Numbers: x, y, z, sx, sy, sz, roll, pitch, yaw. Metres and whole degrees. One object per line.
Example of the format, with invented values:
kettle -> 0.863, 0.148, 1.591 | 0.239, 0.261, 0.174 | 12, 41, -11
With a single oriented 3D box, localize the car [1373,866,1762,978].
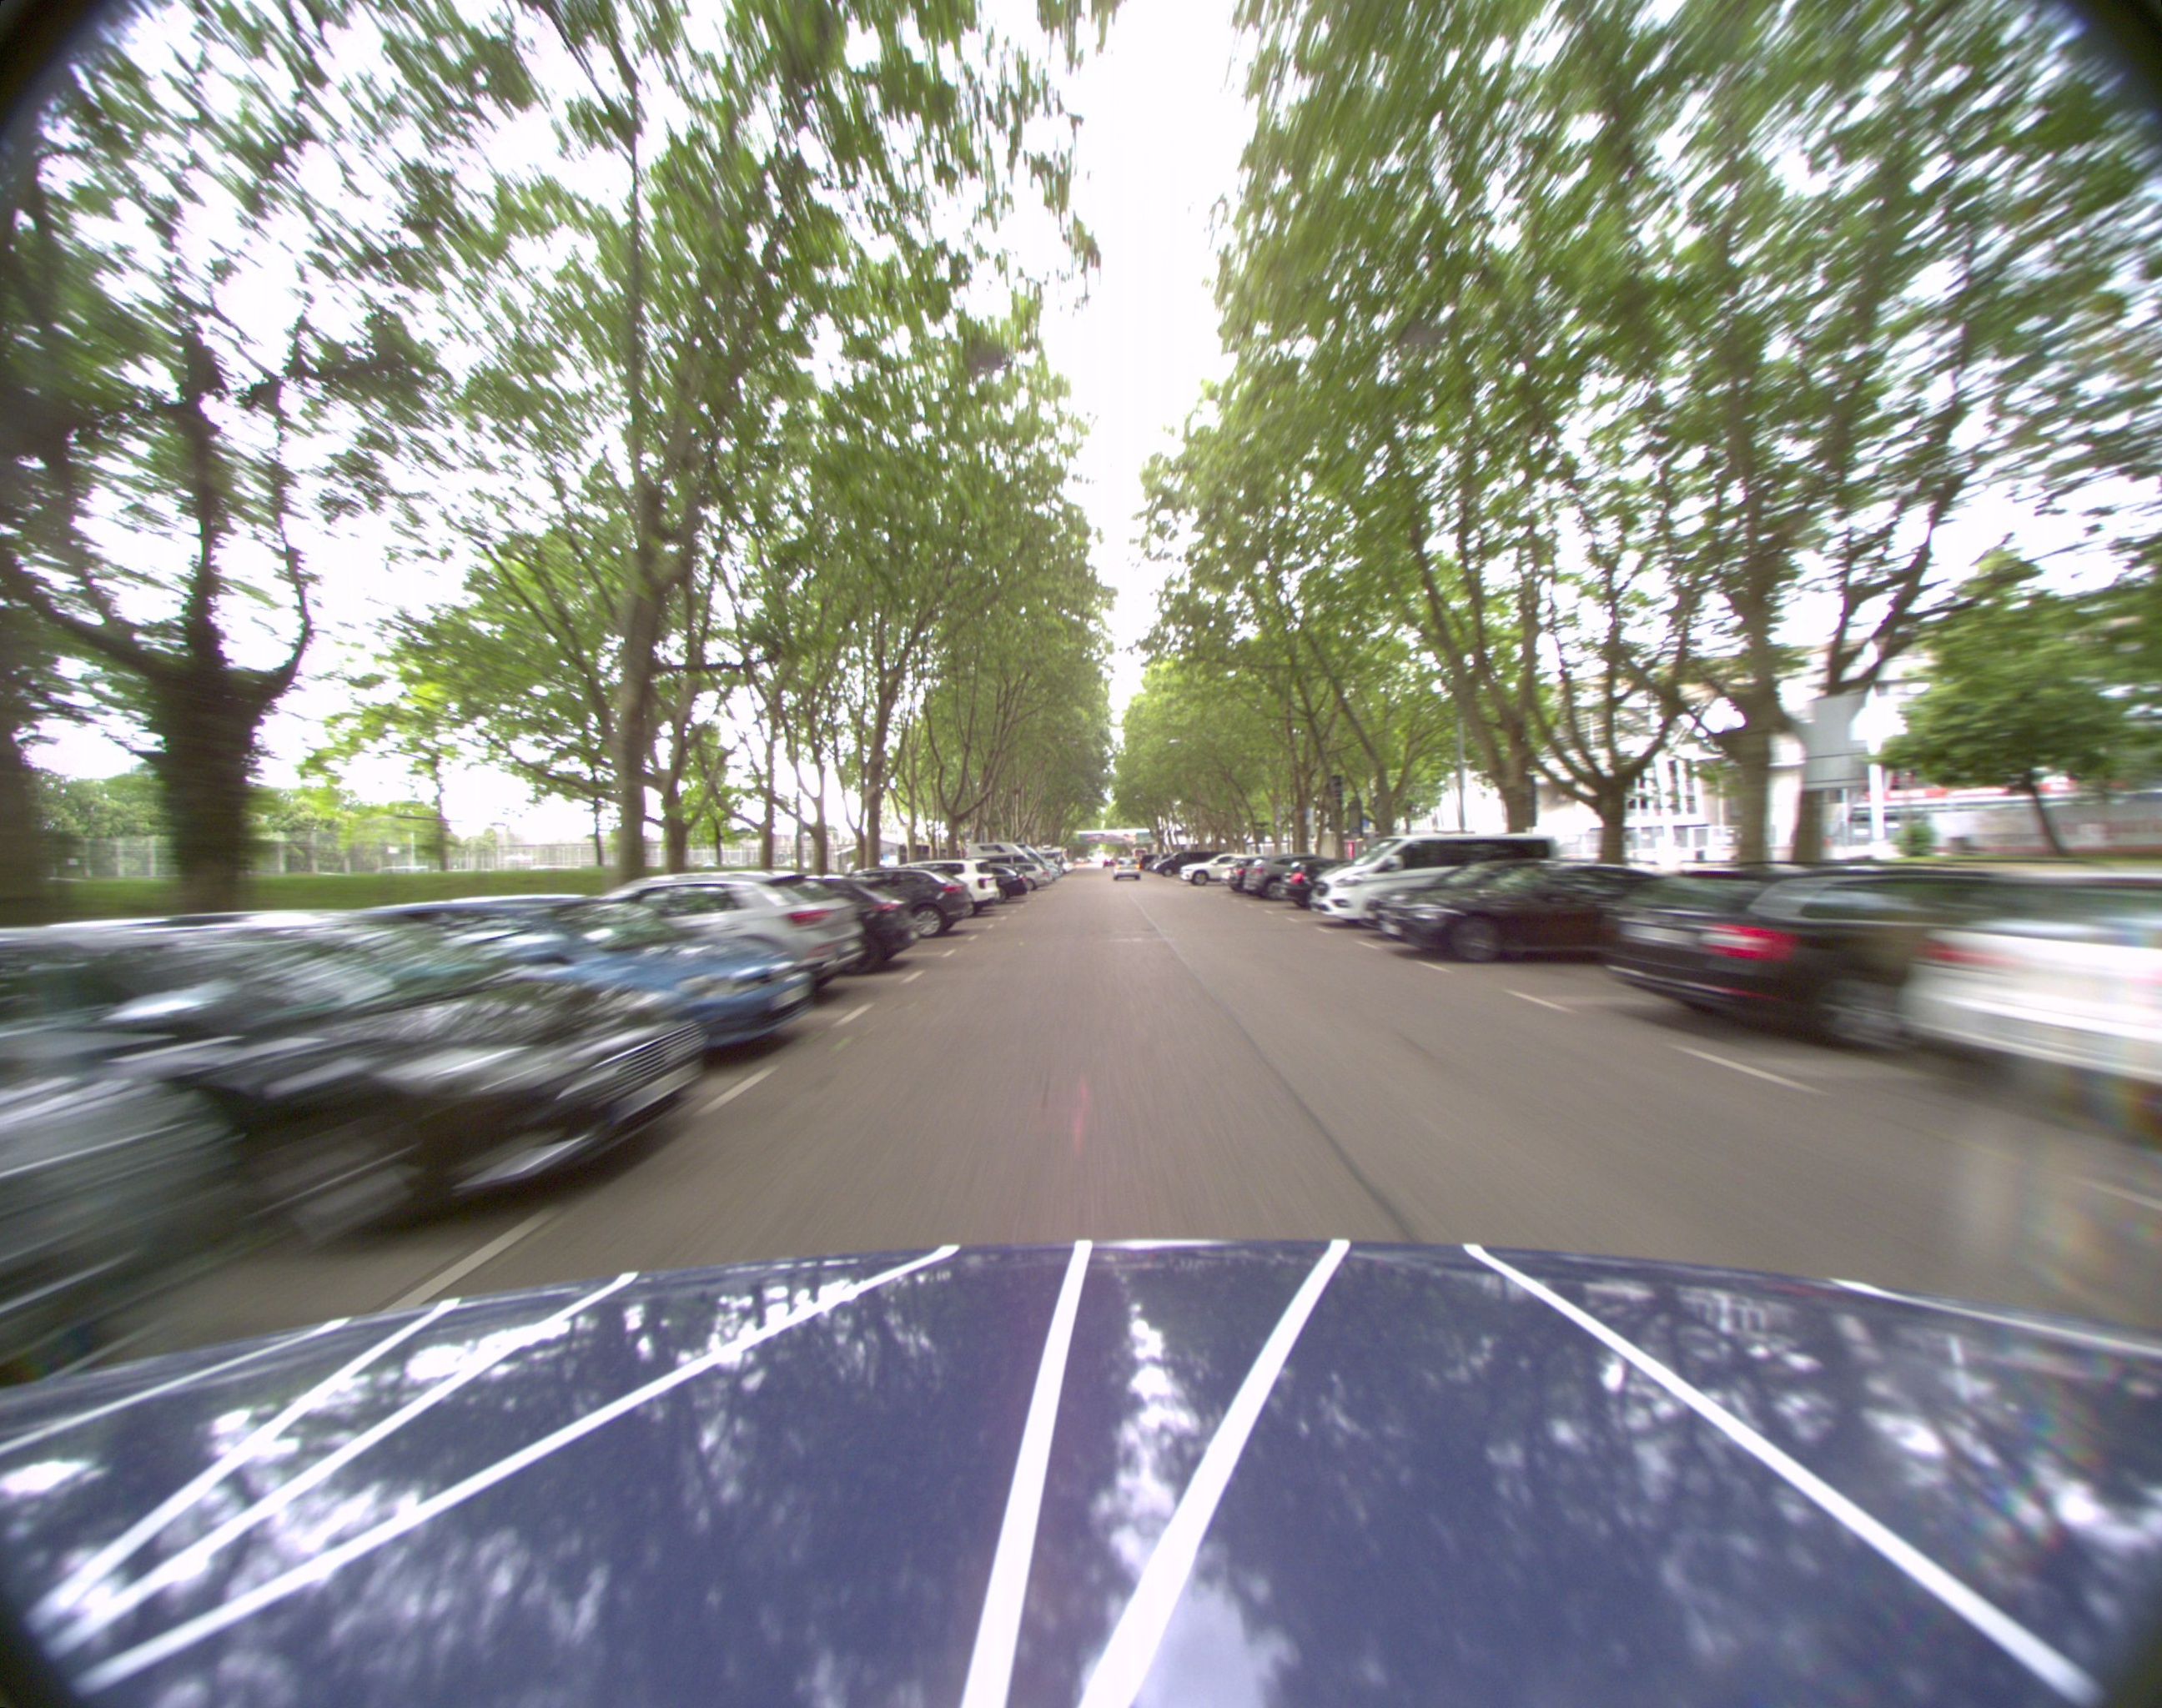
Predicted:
car -> 6.817, 0.911, 11.070 | 4.458, 1.444, 1.775 | 0, 0, 5

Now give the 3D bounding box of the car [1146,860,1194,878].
car -> 8.811, 1.502, 75.191 | 4.589, 1.771, 1.798 | 0, -1, 3

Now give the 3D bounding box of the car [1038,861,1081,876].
car -> -2.355, 1.635, 84.180 | 4.377, 1.437, 1.609 | -3, 0, -22

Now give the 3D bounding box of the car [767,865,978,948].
car -> -4.373, 1.076, 16.357 | 3.997, 1.477, 1.694 | -3, 0, 0

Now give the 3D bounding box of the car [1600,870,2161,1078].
car -> 6.926, 0.911, 6.400 | 4.005, 1.462, 1.537 | 1, 0, 1

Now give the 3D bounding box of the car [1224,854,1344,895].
car -> 7.582, 0.756, 28.638 | 3.997, 1.467, 1.842 | 1, 0, -1

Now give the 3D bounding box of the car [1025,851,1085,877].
car -> -3.184, 1.199, 92.469 | 6.904, 2.679, 2.125 | -3, 0, -10

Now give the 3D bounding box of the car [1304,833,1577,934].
car -> 7.485, 0.579, 16.156 | 4.907, 2.007, 1.919 | 0, 0, -2

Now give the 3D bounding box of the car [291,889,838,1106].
car -> -4.332, 1.144, 6.600 | 3.833, 1.447, 1.696 | -3, 0, 12

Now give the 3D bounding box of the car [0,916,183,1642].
car -> -4.625, 1.100, 1.316 | 4.123, 1.660, 1.694 | -3, 0, 2

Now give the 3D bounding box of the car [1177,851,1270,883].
car -> 7.311, 0.654, 39.295 | 4.391, 1.587, 2.000 | 0, 0, 0

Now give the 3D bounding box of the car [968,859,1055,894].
car -> -3.542, 1.144, 38.972 | 4.129, 1.420, 1.703 | -5, 1, 3

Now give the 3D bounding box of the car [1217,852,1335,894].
car -> 8.042, 0.779, 31.615 | 4.351, 1.658, 2.000 | 1, 0, 0

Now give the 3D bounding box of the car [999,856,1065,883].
car -> -3.394, 1.066, 53.484 | 4.350, 1.608, 1.804 | -4, 0, 4

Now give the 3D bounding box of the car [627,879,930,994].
car -> -4.410, 1.184, 11.502 | 3.837, 1.380, 1.694 | -3, 0, 0

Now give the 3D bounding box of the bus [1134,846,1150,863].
bus -> 12.042, 0.051, 151.241 | 2.657, 3.136, 12.371 | 1, 0, 3

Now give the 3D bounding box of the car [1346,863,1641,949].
car -> 7.406, 0.909, 13.975 | 4.459, 1.444, 1.774 | 0, 0, 1

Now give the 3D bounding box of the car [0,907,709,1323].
car -> -4.412, 1.144, 3.812 | 4.222, 1.443, 1.610 | -3, 0, 0

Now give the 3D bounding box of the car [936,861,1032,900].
car -> -4.348, 1.167, 34.577 | 4.054, 1.517, 1.814 | -3, 0, 0

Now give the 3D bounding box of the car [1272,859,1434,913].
car -> 7.633, 0.879, 21.566 | 3.996, 1.405, 1.683 | 1, 0, 2

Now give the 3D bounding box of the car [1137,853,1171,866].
car -> 9.819, 0.697, 102.217 | 4.526, 1.608, 1.758 | -2, 0, 4

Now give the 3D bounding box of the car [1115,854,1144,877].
car -> 3.183, 0.746, 50.278 | 1.693, 1.462, 3.839 | 0, 0, 0

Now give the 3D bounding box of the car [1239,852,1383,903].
car -> 7.872, 0.793, 26.267 | 4.351, 1.658, 2.000 | 1, 0, 0

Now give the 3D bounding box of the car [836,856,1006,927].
car -> -4.555, 1.048, 21.974 | 4.394, 1.745, 1.801 | -3, 0, 4

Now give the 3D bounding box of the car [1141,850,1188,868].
car -> 9.072, 0.526, 82.590 | 4.917, 1.913, 2.208 | 0, 0, 2

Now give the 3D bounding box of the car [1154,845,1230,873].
car -> 8.343, 0.383, 57.461 | 5.449, 2.115, 1.940 | 0, 0, 0

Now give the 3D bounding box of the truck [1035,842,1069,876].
truck -> -2.850, 0.447, 71.815 | 2.466, 2.920, 7.533 | -3, 0, -7

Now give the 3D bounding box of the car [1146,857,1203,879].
car -> 7.886, 1.194, 64.155 | 4.663, 1.809, 1.807 | 1, -1, 5

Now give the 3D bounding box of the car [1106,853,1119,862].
car -> 4.822, 0.488, 115.295 | 1.658, 1.356, 4.111 | 1, 0, -2

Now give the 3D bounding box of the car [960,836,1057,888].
car -> -4.138, 0.468, 44.011 | 5.241, 2.673, 1.957 | -3, 0, 2

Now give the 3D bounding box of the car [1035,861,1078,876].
car -> -2.547, 1.528, 79.035 | 4.330, 1.294, 1.700 | -3, 0, 2

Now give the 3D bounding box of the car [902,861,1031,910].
car -> -4.208, 1.153, 28.381 | 4.513, 1.517, 1.703 | -3, 0, 0

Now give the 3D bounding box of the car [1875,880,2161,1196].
car -> 7.051, 0.910, 4.008 | 3.765, 1.466, 1.864 | 0, 0, 0

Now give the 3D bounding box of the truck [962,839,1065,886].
truck -> -4.305, 0.548, 49.288 | 6.308, 2.699, 2.098 | -3, 0, 3

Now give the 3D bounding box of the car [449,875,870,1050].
car -> -4.627, 1.161, 8.781 | 3.837, 1.598, 1.694 | -3, 0, 0
